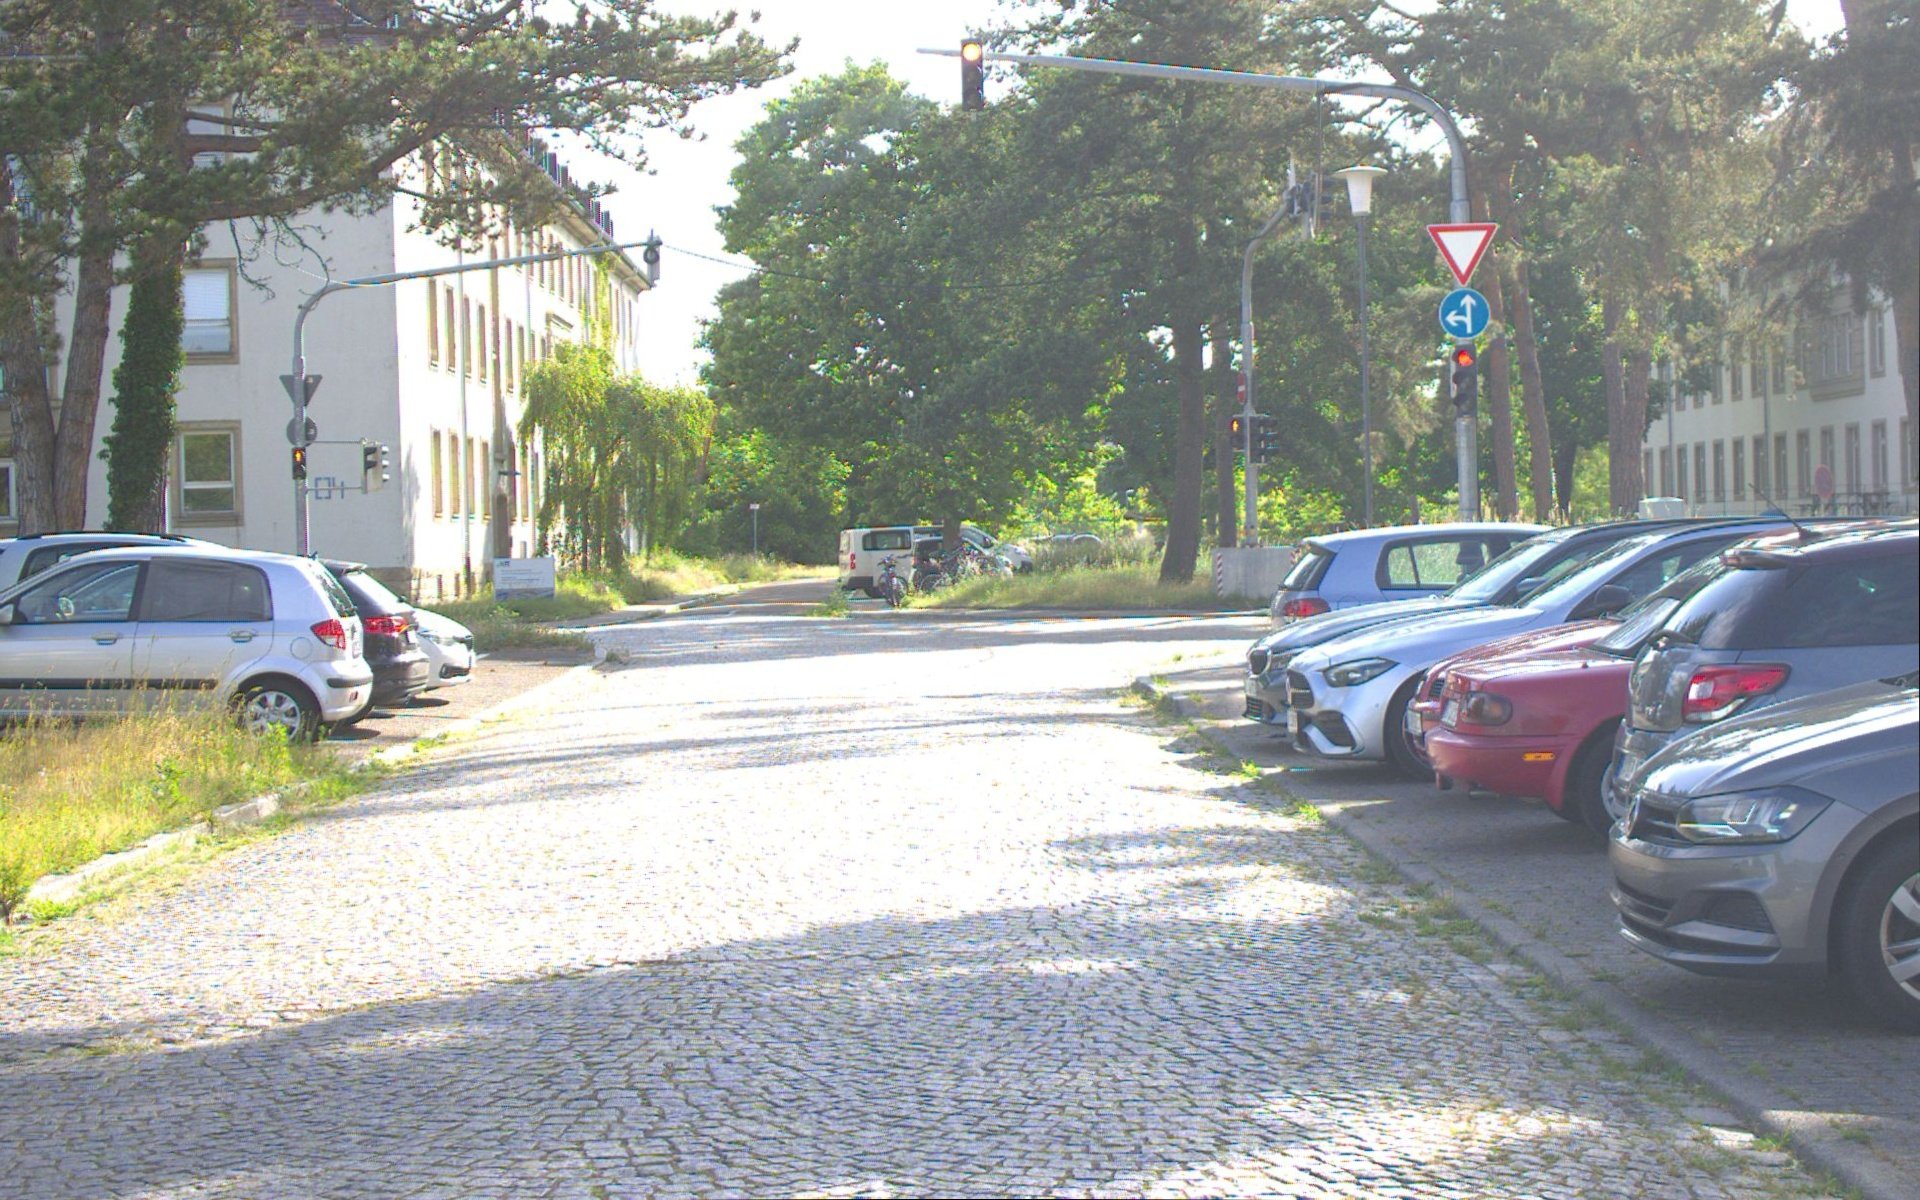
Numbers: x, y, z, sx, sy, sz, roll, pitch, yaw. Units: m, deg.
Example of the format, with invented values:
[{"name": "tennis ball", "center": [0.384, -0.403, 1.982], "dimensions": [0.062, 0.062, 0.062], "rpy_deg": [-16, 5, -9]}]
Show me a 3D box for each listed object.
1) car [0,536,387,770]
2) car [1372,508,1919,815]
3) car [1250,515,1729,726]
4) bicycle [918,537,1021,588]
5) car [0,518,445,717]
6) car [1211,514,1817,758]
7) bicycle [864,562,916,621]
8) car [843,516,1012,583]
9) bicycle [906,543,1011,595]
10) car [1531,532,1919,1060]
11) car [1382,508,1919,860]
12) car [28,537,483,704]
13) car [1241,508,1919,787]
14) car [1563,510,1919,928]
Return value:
[{"name": "car", "center": [-6.377, 0.376, 25.426], "dimensions": [3.986, 1.595, 2.000], "rpy_deg": [-1, 1, -3]}, {"name": "car", "center": [4.180, 0.290, 18.701], "dimensions": [3.602, 1.524, 1.646], "rpy_deg": [-1, 1, -2]}, {"name": "car", "center": [4.000, 0.134, 26.293], "dimensions": [3.343, 1.477, 1.646], "rpy_deg": [-1, 1, -2]}, {"name": "bicycle", "center": [0.207, -0.832, 76.388], "dimensions": [2.172, 1.096, 0.807], "rpy_deg": [-1, 1, -10]}, {"name": "car", "center": [-6.763, 0.129, 30.809], "dimensions": [3.987, 1.596, 2.000], "rpy_deg": [2, 1, -1]}, {"name": "car", "center": [3.747, 0.218, 23.651], "dimensions": [3.835, 1.524, 1.646], "rpy_deg": [-1, 1, -2]}, {"name": "bicycle", "center": [-1.471, -0.187, 71.784], "dimensions": [0.804, 1.165, 2.181], "rpy_deg": [-3, 1, -7]}, {"name": "car", "center": [-0.880, -1.371, 92.707], "dimensions": [4.480, 1.722, 2.000], "rpy_deg": [-1, 1, -1]}, {"name": "bicycle", "center": [-0.041, -0.681, 75.250], "dimensions": [2.172, 1.096, 0.807], "rpy_deg": [-1, 1, -10]}, {"name": "car", "center": [3.800, 0.499, 10.731], "dimensions": [3.675, 1.462, 1.646], "rpy_deg": [-2, 1, -2]}, {"name": "car", "center": [3.880, 0.346, 16.341], "dimensions": [3.478, 1.524, 1.646], "rpy_deg": [-1, 1, -2]}, {"name": "car", "center": [-6.736, 0.179, 33.212], "dimensions": [3.987, 1.448, 2.000], "rpy_deg": [2, 1, -1]}, {"name": "car", "center": [3.851, 0.251, 20.880], "dimensions": [4.033, 1.524, 1.646], "rpy_deg": [-1, 1, -4]}, {"name": "car", "center": [4.313, 0.395, 13.653], "dimensions": [3.478, 1.524, 1.646], "rpy_deg": [-1, 1, -2]}]
